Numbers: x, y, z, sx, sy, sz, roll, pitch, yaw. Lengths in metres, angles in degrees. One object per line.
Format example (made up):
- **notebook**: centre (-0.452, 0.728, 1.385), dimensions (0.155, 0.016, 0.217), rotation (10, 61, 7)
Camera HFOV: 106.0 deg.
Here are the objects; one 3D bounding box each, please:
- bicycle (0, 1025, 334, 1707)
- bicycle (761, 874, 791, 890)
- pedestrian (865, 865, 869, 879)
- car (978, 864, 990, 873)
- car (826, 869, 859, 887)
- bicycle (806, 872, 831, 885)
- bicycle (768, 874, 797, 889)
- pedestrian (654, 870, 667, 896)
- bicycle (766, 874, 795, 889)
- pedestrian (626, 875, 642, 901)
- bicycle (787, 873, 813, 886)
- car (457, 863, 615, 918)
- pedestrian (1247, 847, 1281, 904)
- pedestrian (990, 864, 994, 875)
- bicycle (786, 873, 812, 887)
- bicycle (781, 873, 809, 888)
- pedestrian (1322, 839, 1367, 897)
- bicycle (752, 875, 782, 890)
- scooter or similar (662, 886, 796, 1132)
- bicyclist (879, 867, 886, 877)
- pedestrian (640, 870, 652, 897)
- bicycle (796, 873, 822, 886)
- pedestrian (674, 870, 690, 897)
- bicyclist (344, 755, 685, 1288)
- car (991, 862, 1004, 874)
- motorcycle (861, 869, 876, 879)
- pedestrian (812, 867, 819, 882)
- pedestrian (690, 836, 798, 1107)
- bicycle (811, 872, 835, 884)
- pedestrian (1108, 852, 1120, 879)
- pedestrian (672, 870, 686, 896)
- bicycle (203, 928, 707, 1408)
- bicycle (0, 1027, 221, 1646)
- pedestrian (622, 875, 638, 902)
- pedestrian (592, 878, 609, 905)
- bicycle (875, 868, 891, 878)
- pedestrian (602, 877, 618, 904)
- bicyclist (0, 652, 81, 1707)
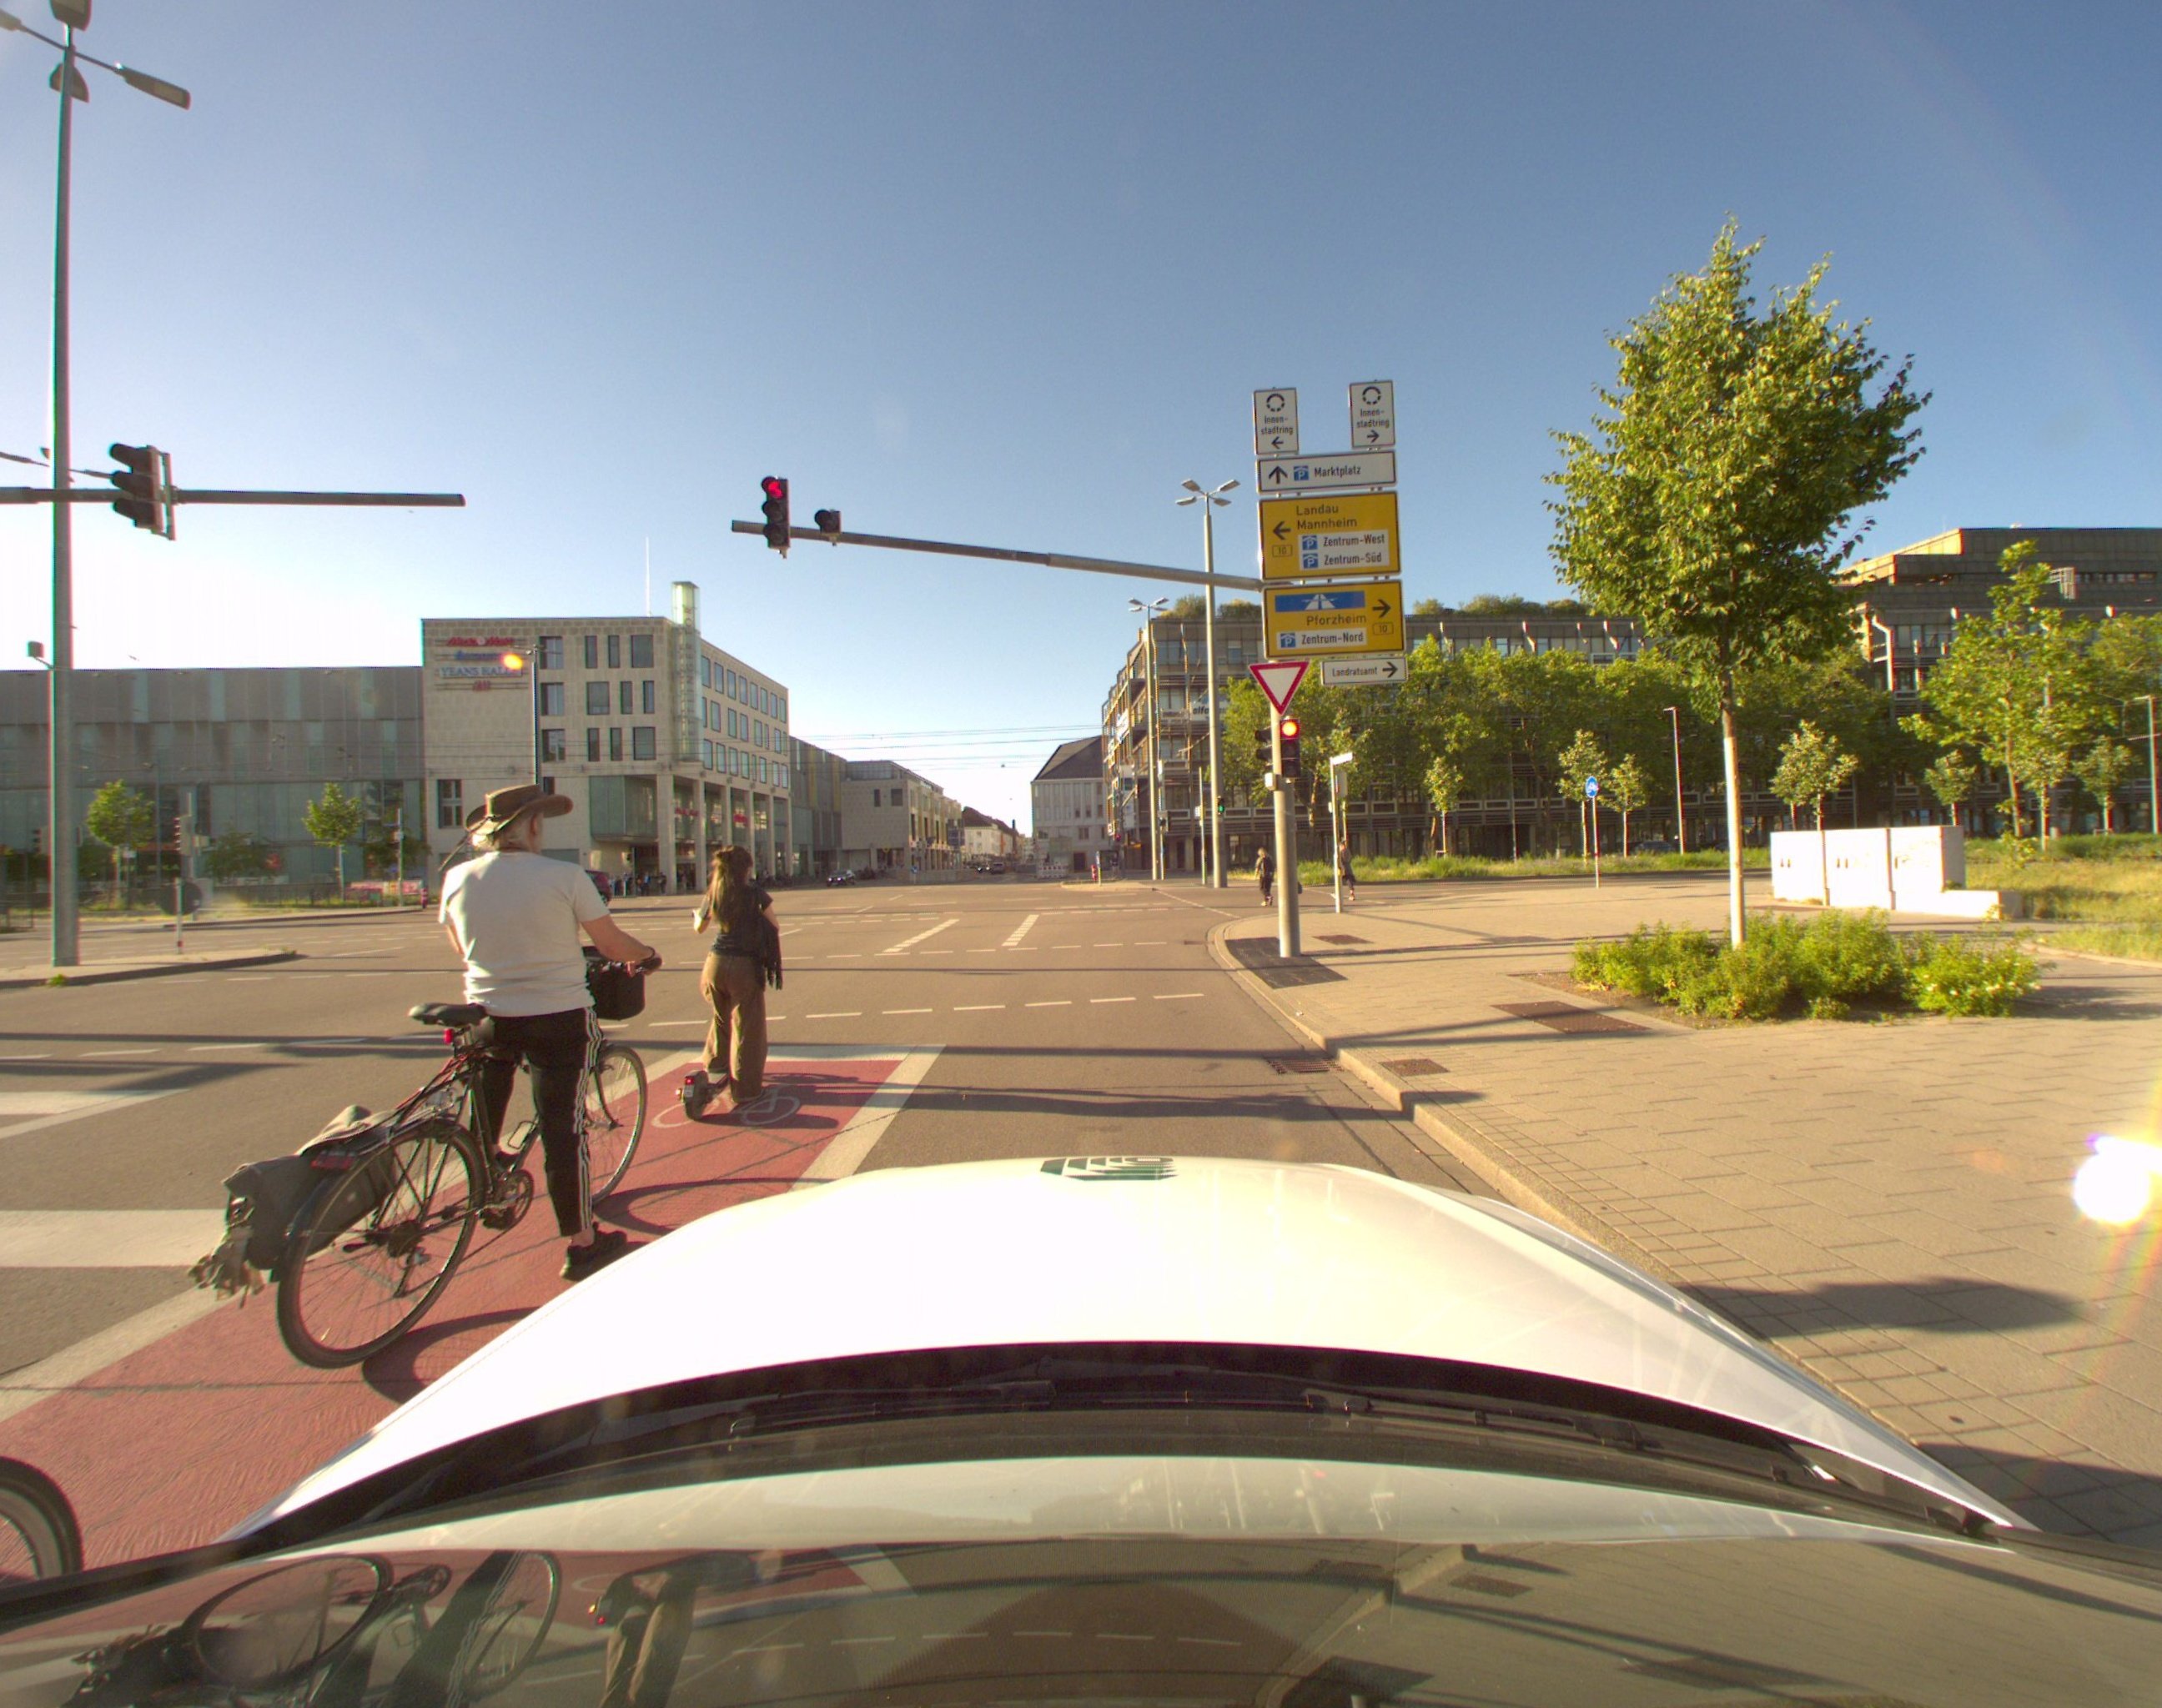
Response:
- **bicycle**: centre (-1.615, 0.915, 0.511), dimensions (0.614, 1.218, 1.831), rotation (0, 0, -1)
- **bicycle**: centre (-26.460, 2.422, 70.662), dimensions (2.299, 1.222, 0.612), rotation (-2, -1, -1)
- **pedestrian**: centre (-26.102, 2.199, 99.366), dimensions (0.521, 1.679, 0.580), rotation (0, 0, -12)
- **car**: centre (-17.324, 2.611, 145.395), dimensions (1.793, 1.657, 3.997), rotation (0, -1, -2)
- **car**: centre (-20.622, 2.056, 70.519), dimensions (1.625, 1.342, 3.999), rotation (-4, -1, 0)
- **bicycle**: centre (-27.587, 2.555, 85.592), dimensions (2.299, 1.222, 0.612), rotation (-2, -1, -1)
- **bicycle**: centre (-26.738, 2.442, 72.907), dimensions (2.299, 1.222, 0.612), rotation (-2, -1, -1)
- **pedestrian**: centre (-30.789, 2.123, 59.676), dimensions (0.800, 1.843, 0.856), rotation (-2, 0, -26)
- **bicycle**: centre (-26.563, 2.434, 72.022), dimensions (2.299, 1.222, 0.612), rotation (-2, -1, -1)
- **pedestrian**: centre (-32.509, 2.473, 59.254), dimensions (0.783, 1.885, 0.716), rotation (0, -1, -4)
- **bicycle**: centre (-27.628, 2.509, 80.137), dimensions (2.299, 1.222, 0.612), rotation (-2, -1, -1)
- **car**: centre (-17.481, 1.126, 26.319), dimensions (1.639, 1.585, 3.920), rotation (-2, -1, 25)
- **pedestrian**: centre (4.890, 0.578, 21.783), dimensions (0.785, 1.492, 0.644), rotation (0, -1, 1)
- **pedestrian**: centre (-12.825, 2.249, 117.544), dimensions (0.520, 1.679, 0.582), rotation (0, 0, -5)
- **bicycle**: centre (-27.061, 2.488, 78.142), dimensions (2.299, 1.222, 0.612), rotation (-2, -1, -1)
- **bicycle**: centre (-26.695, 2.468, 75.974), dimensions (2.299, 1.222, 0.612), rotation (-2, -1, -1)
- **pedestrian**: centre (7.675, 0.407, 23.756), dimensions (0.880, 1.665, 0.960), rotation (0, -1, -14)
- **bicycle**: centre (-26.731, 2.413, 69.385), dimensions (2.299, 1.222, 0.612), rotation (-2, -1, -1)
- **scooter or similar**: centre (-2.148, 0.871, 5.088), dimensions (0.547, 1.294, 1.188), rotation (0, -1, -13)
- **bicyclist**: centre (-23.737, 2.158, 97.561), dimensions (0.505, 1.084, 0.629), rotation (-1, 0, 45)
- **pedestrian**: centre (-31.099, 2.099, 58.279), dimensions (0.718, 1.885, 0.781), rotation (0, -1, -25)
- **bicycle**: centre (-27.183, 2.516, 81.354), dimensions (2.299, 1.222, 0.612), rotation (-2, -1, -1)
- **pedestrian**: centre (-29.643, 2.177, 60.564), dimensions (0.883, 2.014, 0.771), rotation (0, -1, -9)
- **bicyclist**: centre (-2.047, 0.544, 3.074), dimensions (0.658, 1.720, 0.866), rotation (0, -1, 1)
- **car**: centre (-11.139, 1.866, 108.667), dimensions (1.735, 1.531, 3.848), rotation (0, -1, -5)
- **motorcycle**: centre (-25.782, 2.438, 98.750), dimensions (1.807, 1.206, 0.509), rotation (0, 0, -14)
- **pedestrian**: centre (-30.251, 2.323, 92.799), dimensions (0.553, 1.679, 0.606), rotation (0, 0, -8)
- **pedestrian**: centre (-2.154, 0.706, 5.257), dimensions (0.549, 1.633, 0.569), rotation (0, -1, -13)
- **bicycle**: centre (-27.422, 2.562, 86.658), dimensions (2.299, 1.222, 0.612), rotation (-2, -1, -1)
- **pedestrian**: centre (2.328, 0.817, 57.426), dimensions (0.785, 1.890, 0.644), rotation (0, -1, 1)
- **pedestrian**: centre (-29.102, 2.071, 58.951), dimensions (0.801, 1.843, 0.855), rotation (-2, 0, -30)
- **bicycle**: centre (-2.139, 0.943, 3.151), dimensions (0.483, 1.156, 1.832), rotation (0, -1, 2)
- **bicycle**: centre (-2.413, 0.982, 0.993), dimensions (0.645, 1.109, 1.970), rotation (0, 0, -1)
- **pedestrian**: centre (-31.943, 2.456, 57.702), dimensions (0.783, 1.885, 0.716), rotation (0, -1, -4)
- **pedestrian**: centre (-33.865, 2.618, 57.383), dimensions (0.783, 1.885, 0.716), rotation (0, -1, -4)
- **bicycle**: centre (-23.704, 2.272, 97.598), dimensions (1.821, 1.206, 0.505), rotation (-1, 0, -45)
- **pedestrian**: centre (-33.988, 2.630, 58.730), dimensions (0.714, 1.885, 0.786), rotation (0, -1, -6)
- **bicyclist**: centre (-1.618, 0.549, 0.613), dimensions (0.639, 1.579, 0.875), rotation (0, 0, -1)
